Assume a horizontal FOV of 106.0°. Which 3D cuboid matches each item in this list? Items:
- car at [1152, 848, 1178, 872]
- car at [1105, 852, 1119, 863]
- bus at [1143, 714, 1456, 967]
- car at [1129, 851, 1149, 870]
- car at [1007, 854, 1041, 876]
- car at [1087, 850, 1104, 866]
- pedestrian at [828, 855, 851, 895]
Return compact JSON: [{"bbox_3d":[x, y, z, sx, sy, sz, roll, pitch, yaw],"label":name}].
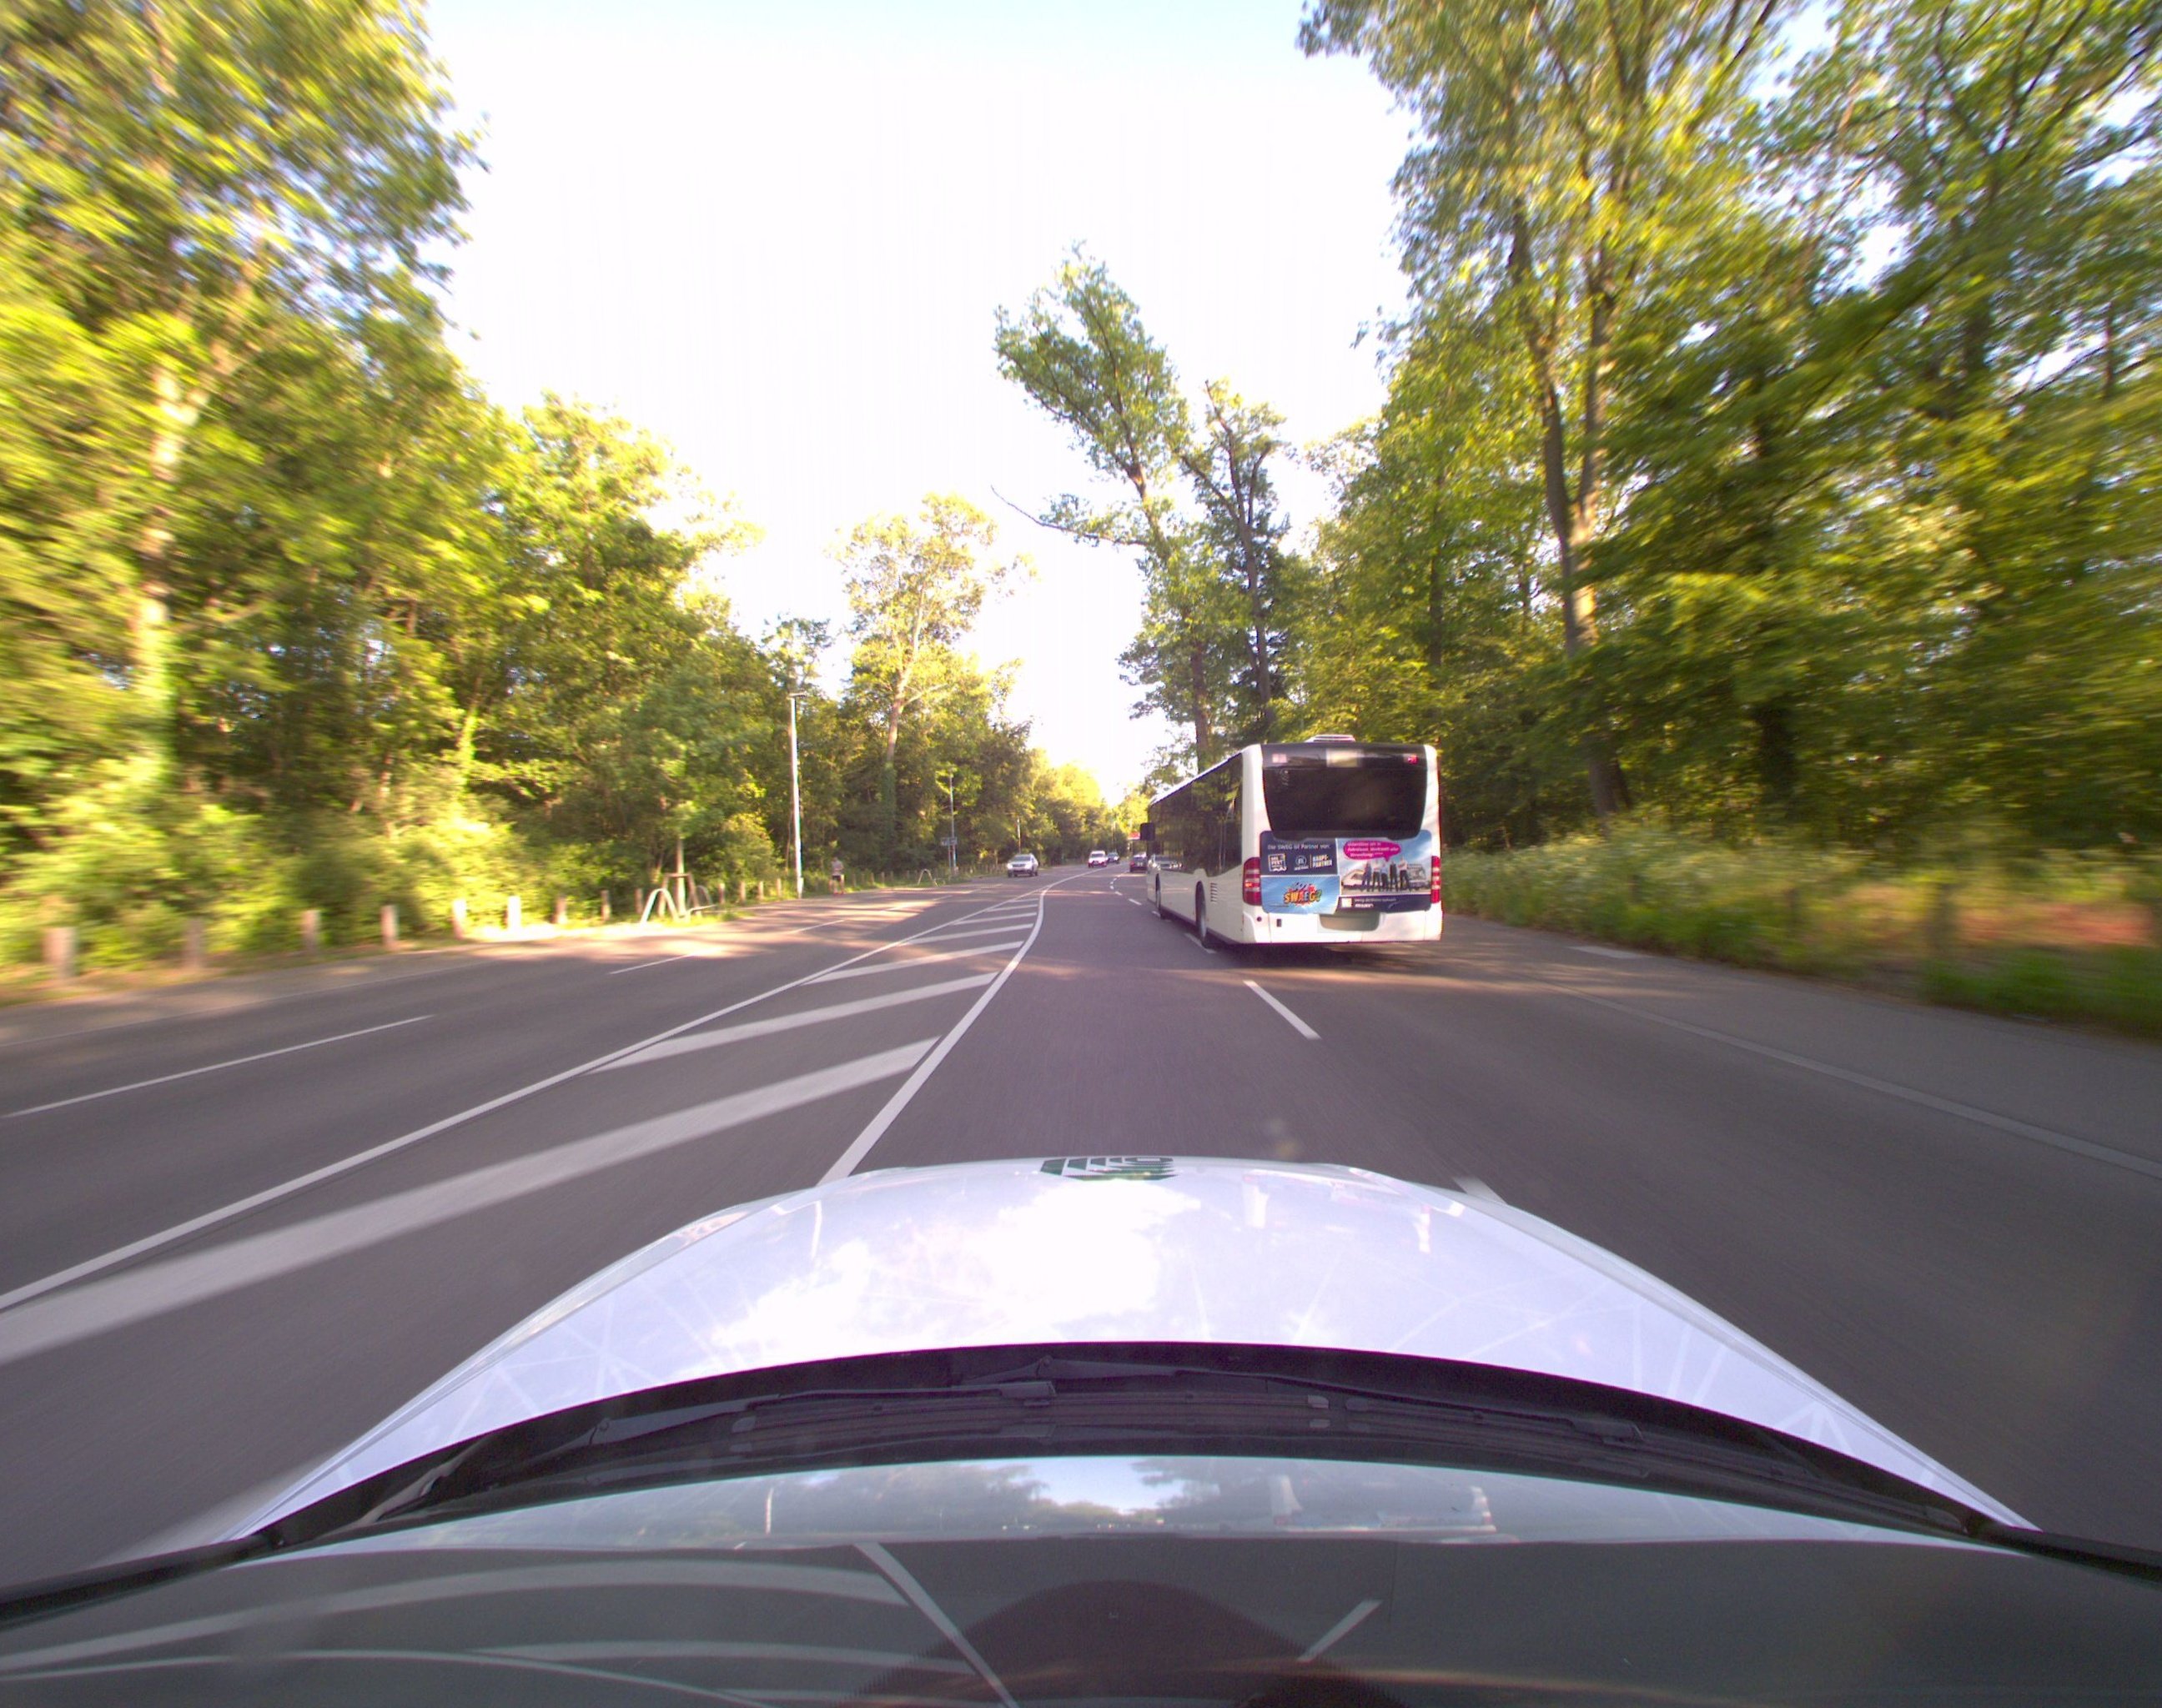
[{"bbox_3d":[6.362,0.455,61.277,1.622,1.659,4.143,-1,-1,10],"label":"car"},{"bbox_3d":[4.354,0.505,113.993,1.855,1.565,4.003,-1,-1,3],"label":"car"},{"bbox_3d":[3.128,-0.110,15.950,2.682,3.043,12.034,-1,-1,-1],"label":"bus"},{"bbox_3d":[4.872,0.535,67.911,1.624,1.547,4.137,-1,-1,5],"label":"car"},{"bbox_3d":[-4.123,0.778,59.188,1.854,1.537,4.137,-1,-1,5],"label":"car"},{"bbox_3d":[1.621,0.484,90.238,1.856,1.729,4.001,-1,-1,2],"label":"car"},{"bbox_3d":[-11.077,0.966,37.366,0.776,1.812,0.770,-1,0,0],"label":"pedestrian"}]
